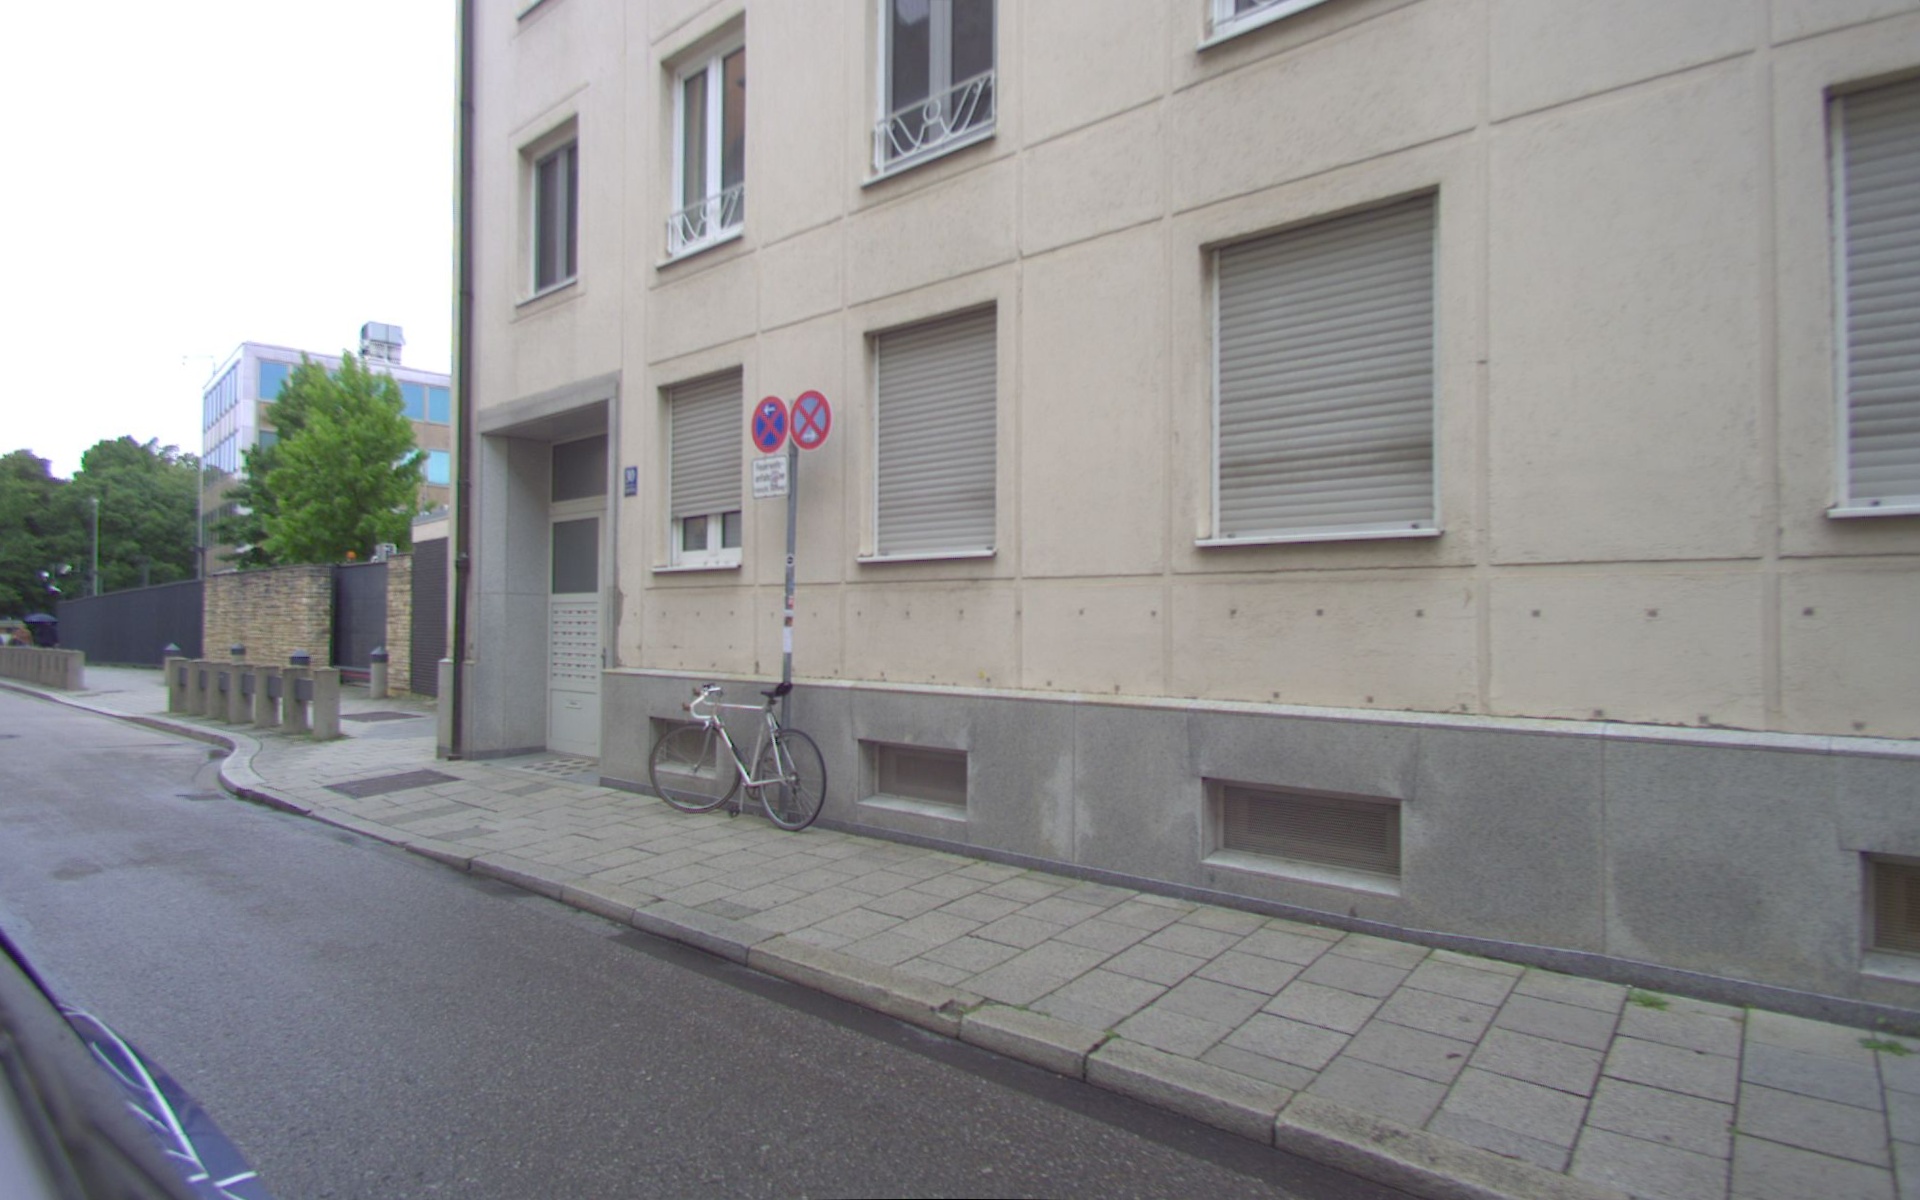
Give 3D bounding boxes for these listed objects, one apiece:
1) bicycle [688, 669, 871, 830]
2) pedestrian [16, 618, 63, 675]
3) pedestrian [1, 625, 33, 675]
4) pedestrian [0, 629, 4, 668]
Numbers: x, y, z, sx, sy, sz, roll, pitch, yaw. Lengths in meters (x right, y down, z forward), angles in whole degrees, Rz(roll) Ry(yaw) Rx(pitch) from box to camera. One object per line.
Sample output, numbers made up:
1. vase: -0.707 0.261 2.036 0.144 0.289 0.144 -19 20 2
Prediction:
1. bicycle: -1.294 0.988 7.045 1.573 0.951 0.316 -2 1 42
2. pedestrian: -34.935 1.766 38.411 1.116 2.120 1.210 -3 -3 42
3. pedestrian: -34.474 1.818 37.001 0.815 1.736 0.906 -2 -1 -45
4. pedestrian: -39.133 1.963 40.847 0.768 1.551 0.934 -2 -1 -42
